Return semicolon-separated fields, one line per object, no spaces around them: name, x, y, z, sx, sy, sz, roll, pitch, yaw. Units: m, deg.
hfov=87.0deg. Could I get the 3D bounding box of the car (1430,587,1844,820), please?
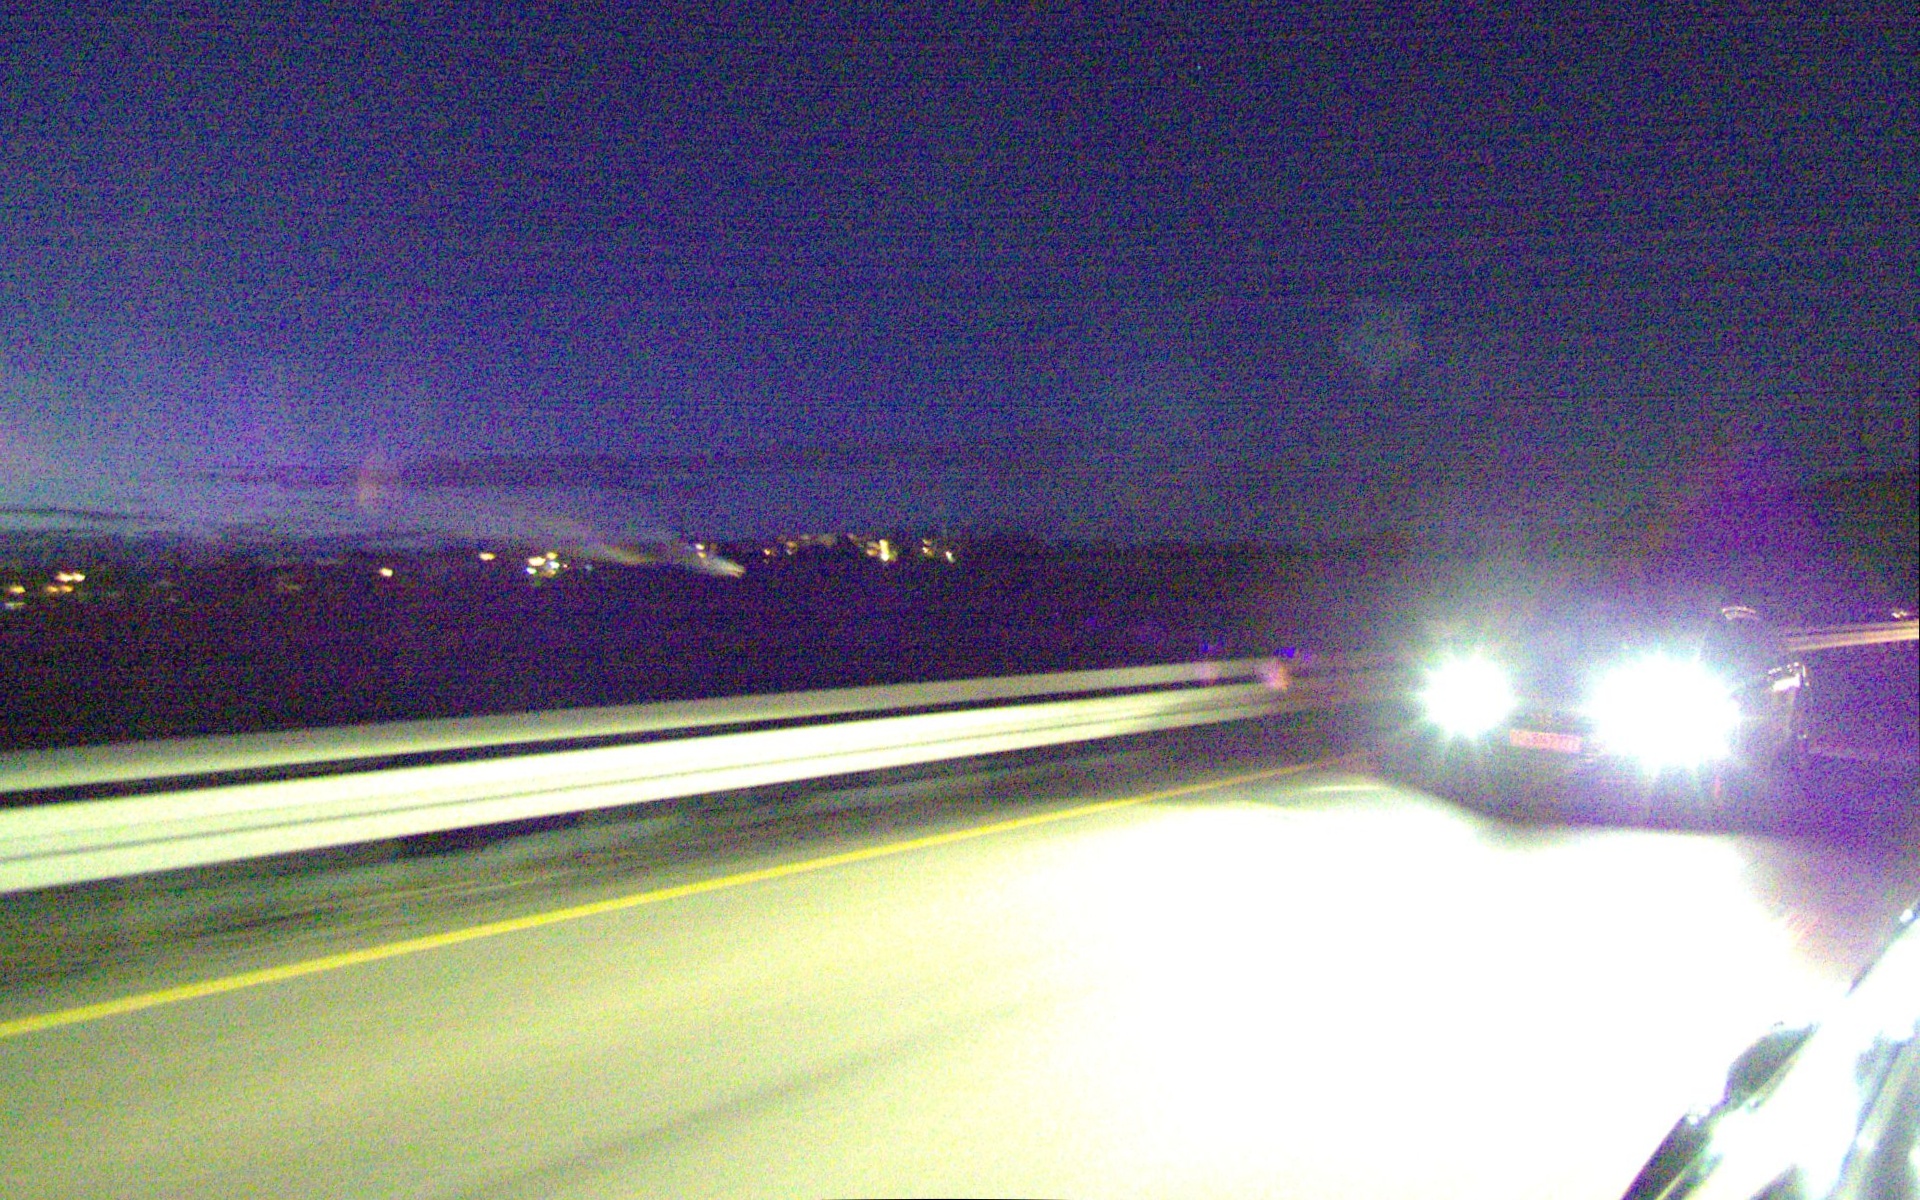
car;6.078;0.671;8.812;4.790;1.444;1.811;0;2;-42
